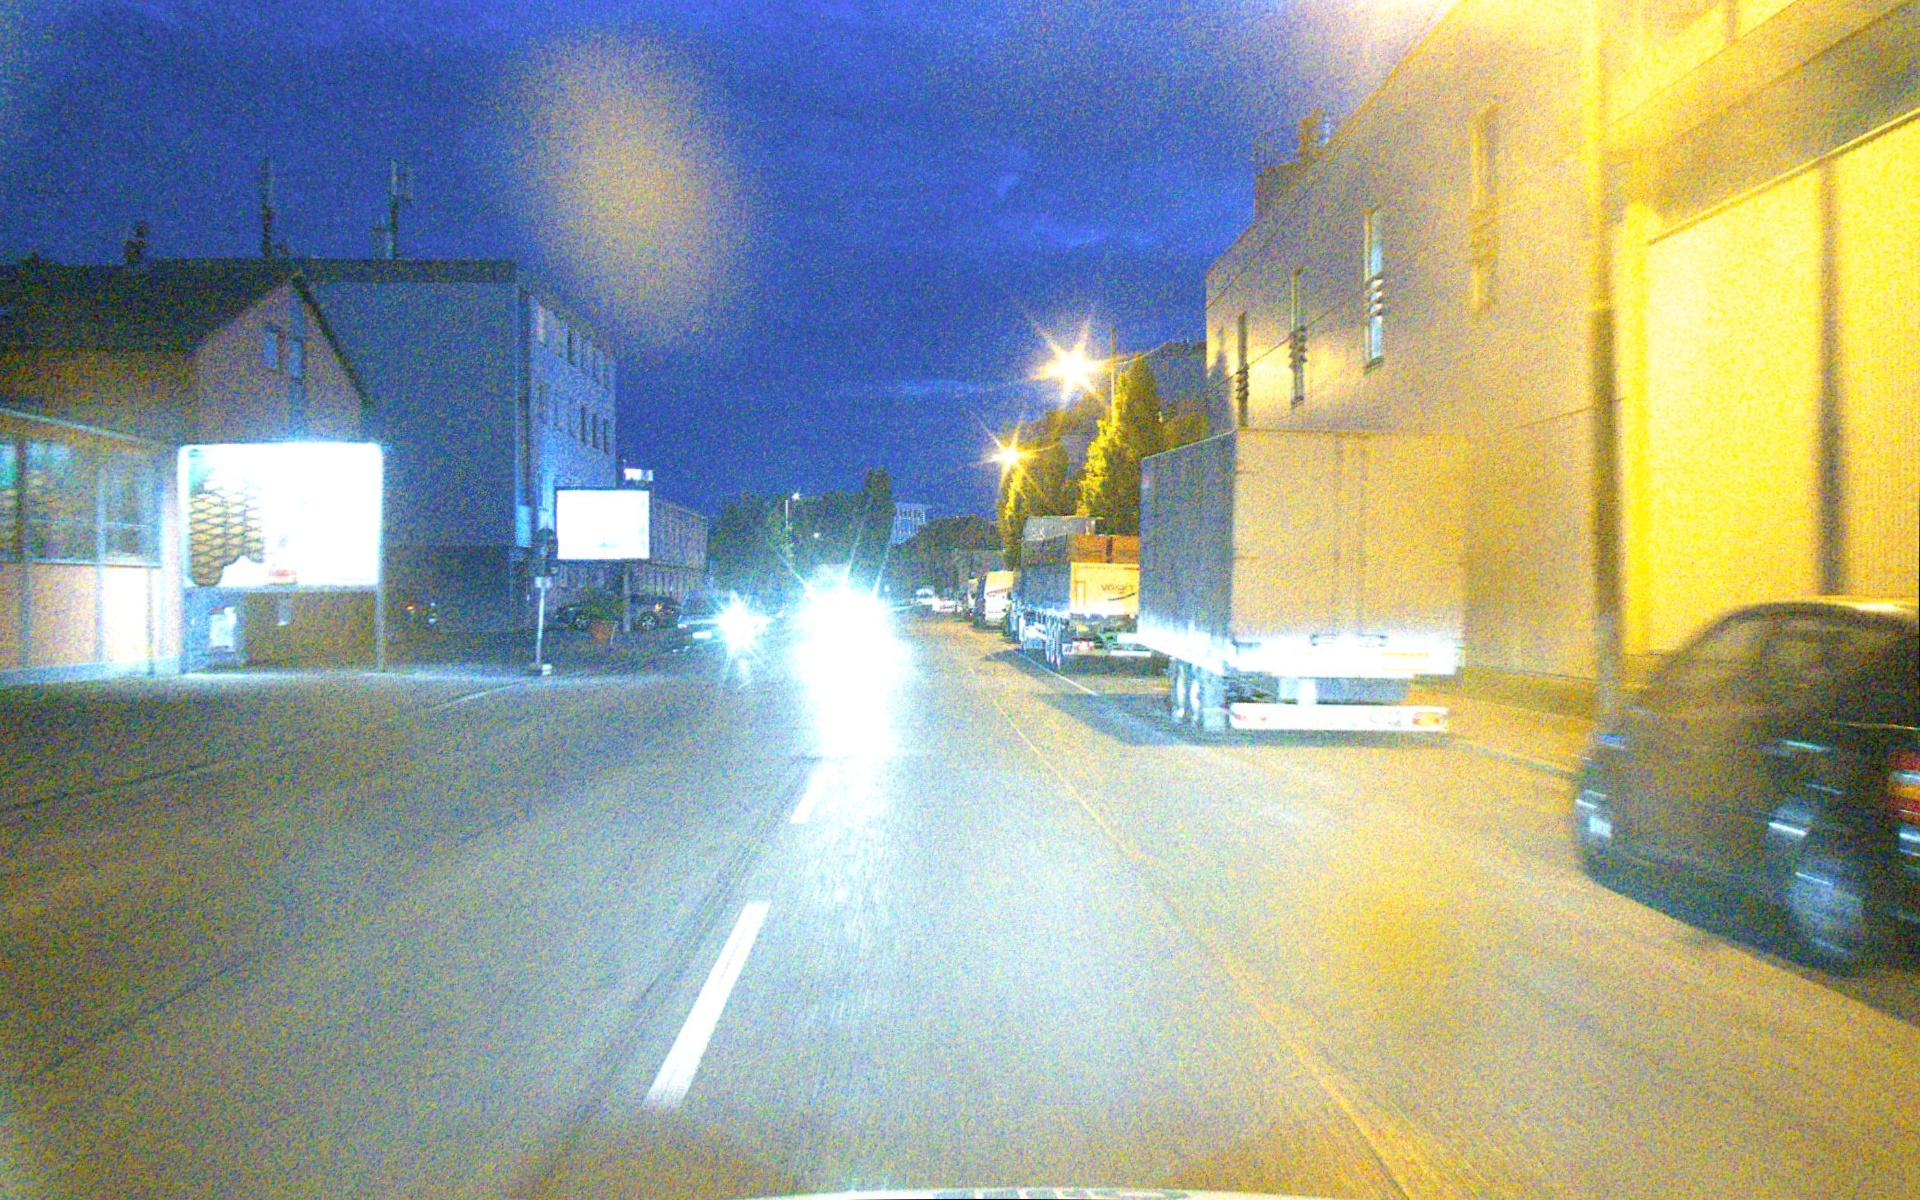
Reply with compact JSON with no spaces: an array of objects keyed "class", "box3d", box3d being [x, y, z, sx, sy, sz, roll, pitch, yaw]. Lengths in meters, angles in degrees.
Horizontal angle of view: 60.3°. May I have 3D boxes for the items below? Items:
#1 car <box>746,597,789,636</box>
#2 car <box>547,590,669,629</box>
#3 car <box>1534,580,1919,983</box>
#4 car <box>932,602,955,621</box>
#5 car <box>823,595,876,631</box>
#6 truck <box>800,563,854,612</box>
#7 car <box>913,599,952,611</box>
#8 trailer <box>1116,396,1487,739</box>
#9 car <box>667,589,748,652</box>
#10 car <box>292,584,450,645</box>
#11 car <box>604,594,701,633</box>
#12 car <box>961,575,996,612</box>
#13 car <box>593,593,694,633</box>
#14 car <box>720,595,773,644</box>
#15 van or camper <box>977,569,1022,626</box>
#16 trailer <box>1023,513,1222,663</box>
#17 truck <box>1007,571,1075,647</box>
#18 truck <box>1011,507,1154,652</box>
[{"class":"car","box3d":[-8.899,0.748,76.637,1.860,1.766,4.350,0,0,-5]},{"class":"car","box3d":[-14.260,0.369,67.003,4.553,1.511,1.985,0,0,-24]},{"class":"car","box3d":[4.498,0.689,8.299,1.815,1.545,3.817,-2,-1,-1]},{"class":"car","box3d":[-1.509,1.041,148.968,1.953,1.713,3.999,0,0,-1]},{"class":"car","box3d":[-4.489,0.519,67.691,1.953,1.422,3.999,0,0,-1]},{"class":"truck","box3d":[-10.348,-0.927,127.910,3.816,3.685,8.248,0,0,-7]},{"class":"car","box3d":[-3.187,0.623,193.463,4.437,1.404,2.000,0,-1,2]},{"class":"trailer","box3d":[3.907,-0.296,20.984,2.633,3.525,7.802,0,-1,-4]},{"class":"car","box3d":[-7.699,0.607,50.810,1.953,1.825,3.999,0,0,-1]},{"class":"car","box3d":[-16.953,0.408,47.760,3.908,1.680,1.998,0,0,-4]},{"class":"car","box3d":[-14.055,0.613,75.513,3.941,1.622,1.982,-2,-1,-28]},{"class":"car","box3d":[1.076,-0.387,98.683,1.953,2.183,3.999,0,0,-1]},{"class":"car","box3d":[-13.872,0.579,72.559,3.941,1.622,1.982,-2,-1,-28]},{"class":"car","box3d":[-7.921,0.702,61.600,1.645,1.766,4.352,0,0,-3]},{"class":"van or camper","box3d":[1.852,-0.123,78.231,1.953,2.627,4.914,0,0,-1]},{"class":"trailer","box3d":[3.338,-0.184,37.293,3.120,2.797,10.711,-2,-1,-1]},{"class":"truck","box3d":[2.711,0.289,56.584,1.953,2.450,5.291,0,0,-1]},{"class":"truck","box3d":[3.146,-0.482,44.434,3.088,3.524,6.671,-2,-1,-1]}]
